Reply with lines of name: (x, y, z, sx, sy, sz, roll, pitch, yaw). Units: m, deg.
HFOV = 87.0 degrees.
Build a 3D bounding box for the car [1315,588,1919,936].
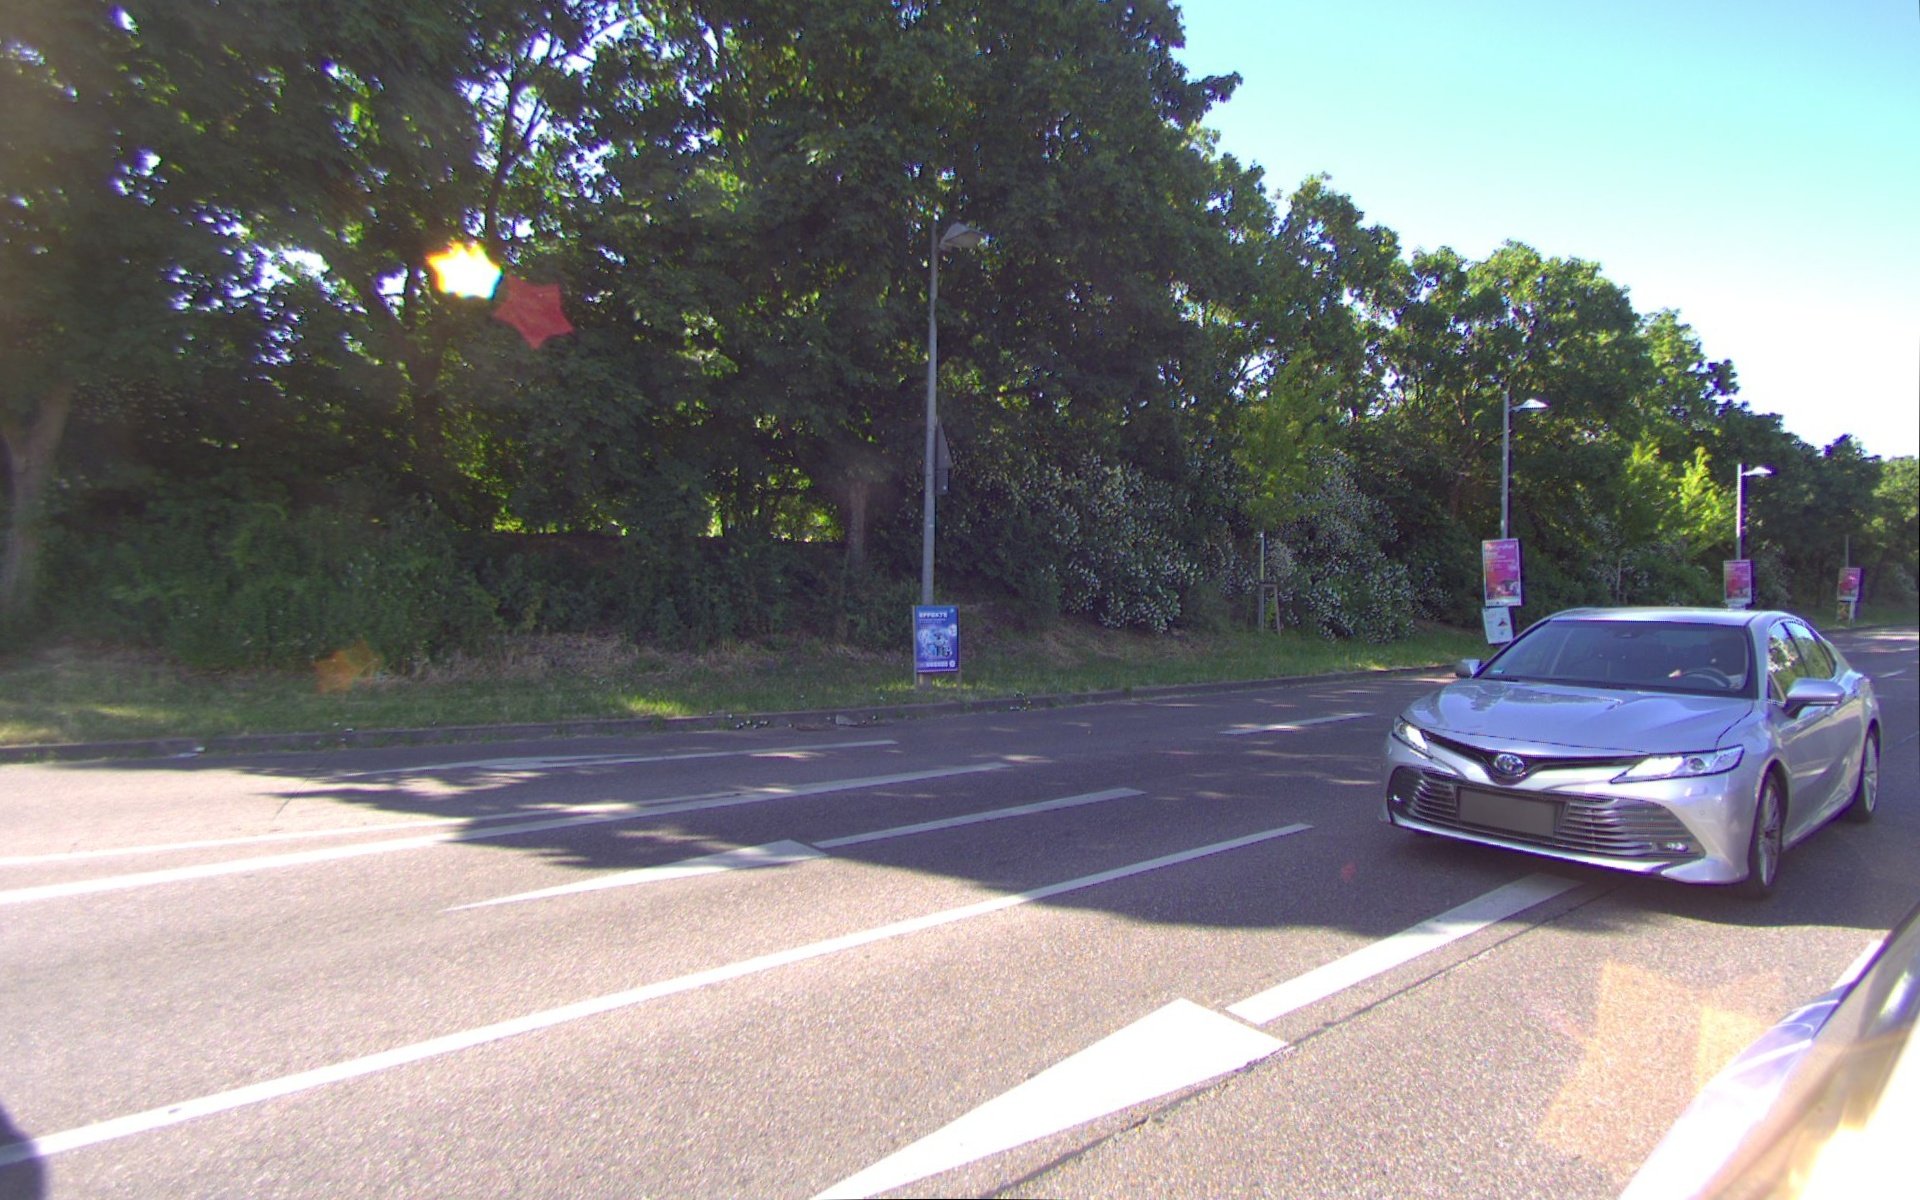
car: (4.559, 0.693, 6.708, 4.664, 1.477, 2.069, 0, 2, -40)
